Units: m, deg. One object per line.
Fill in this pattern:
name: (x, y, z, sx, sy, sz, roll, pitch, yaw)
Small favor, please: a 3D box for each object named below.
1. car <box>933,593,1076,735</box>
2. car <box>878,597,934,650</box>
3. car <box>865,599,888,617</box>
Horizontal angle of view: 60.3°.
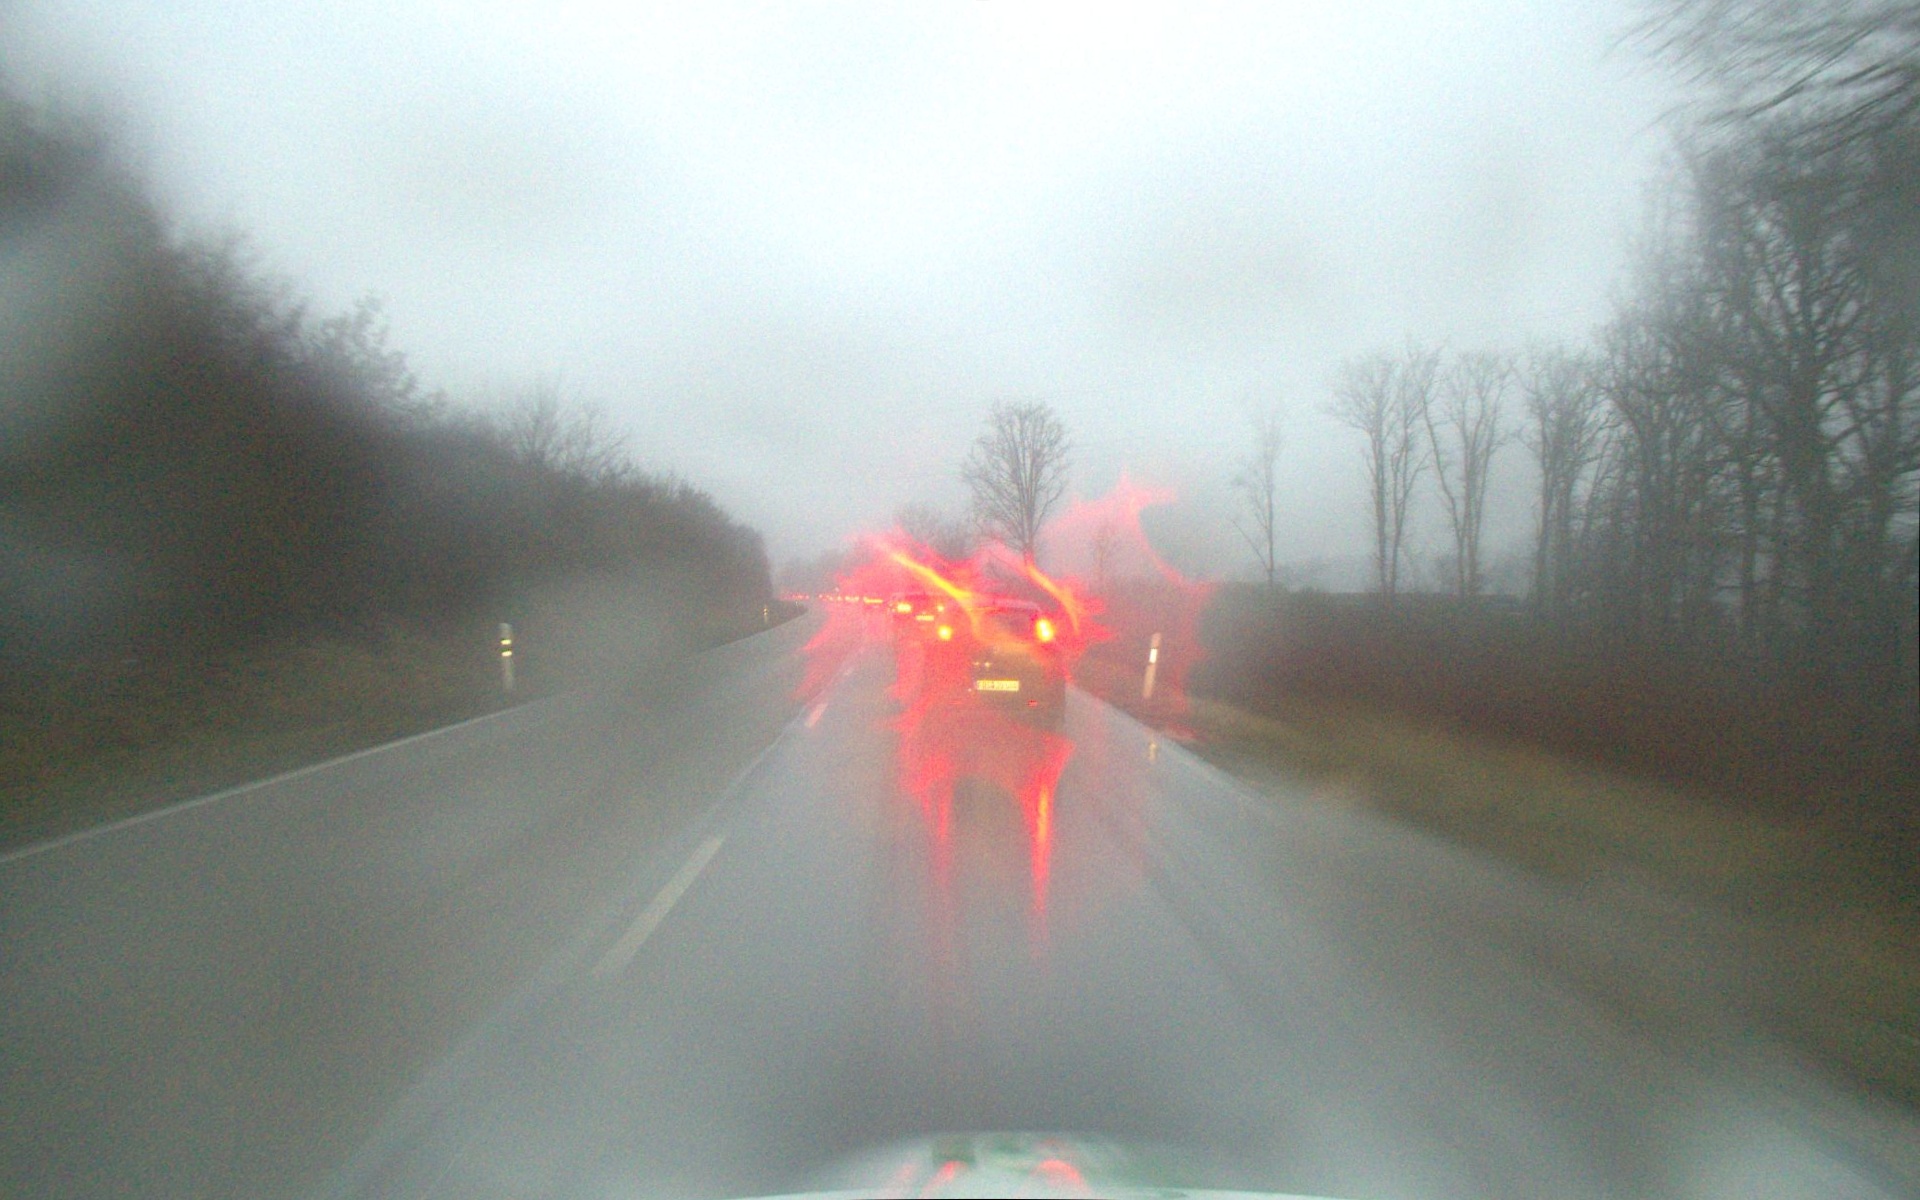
car: (0.510, 0.708, 20.323, 1.569, 1.549, 3.869, 1, 0, 0)
car: (-1.501, 0.626, 46.915, 1.515, 1.421, 3.868, 1, 0, -1)
car: (-6.913, 0.636, 137.386, 1.515, 1.421, 3.870, 1, 0, 2)
